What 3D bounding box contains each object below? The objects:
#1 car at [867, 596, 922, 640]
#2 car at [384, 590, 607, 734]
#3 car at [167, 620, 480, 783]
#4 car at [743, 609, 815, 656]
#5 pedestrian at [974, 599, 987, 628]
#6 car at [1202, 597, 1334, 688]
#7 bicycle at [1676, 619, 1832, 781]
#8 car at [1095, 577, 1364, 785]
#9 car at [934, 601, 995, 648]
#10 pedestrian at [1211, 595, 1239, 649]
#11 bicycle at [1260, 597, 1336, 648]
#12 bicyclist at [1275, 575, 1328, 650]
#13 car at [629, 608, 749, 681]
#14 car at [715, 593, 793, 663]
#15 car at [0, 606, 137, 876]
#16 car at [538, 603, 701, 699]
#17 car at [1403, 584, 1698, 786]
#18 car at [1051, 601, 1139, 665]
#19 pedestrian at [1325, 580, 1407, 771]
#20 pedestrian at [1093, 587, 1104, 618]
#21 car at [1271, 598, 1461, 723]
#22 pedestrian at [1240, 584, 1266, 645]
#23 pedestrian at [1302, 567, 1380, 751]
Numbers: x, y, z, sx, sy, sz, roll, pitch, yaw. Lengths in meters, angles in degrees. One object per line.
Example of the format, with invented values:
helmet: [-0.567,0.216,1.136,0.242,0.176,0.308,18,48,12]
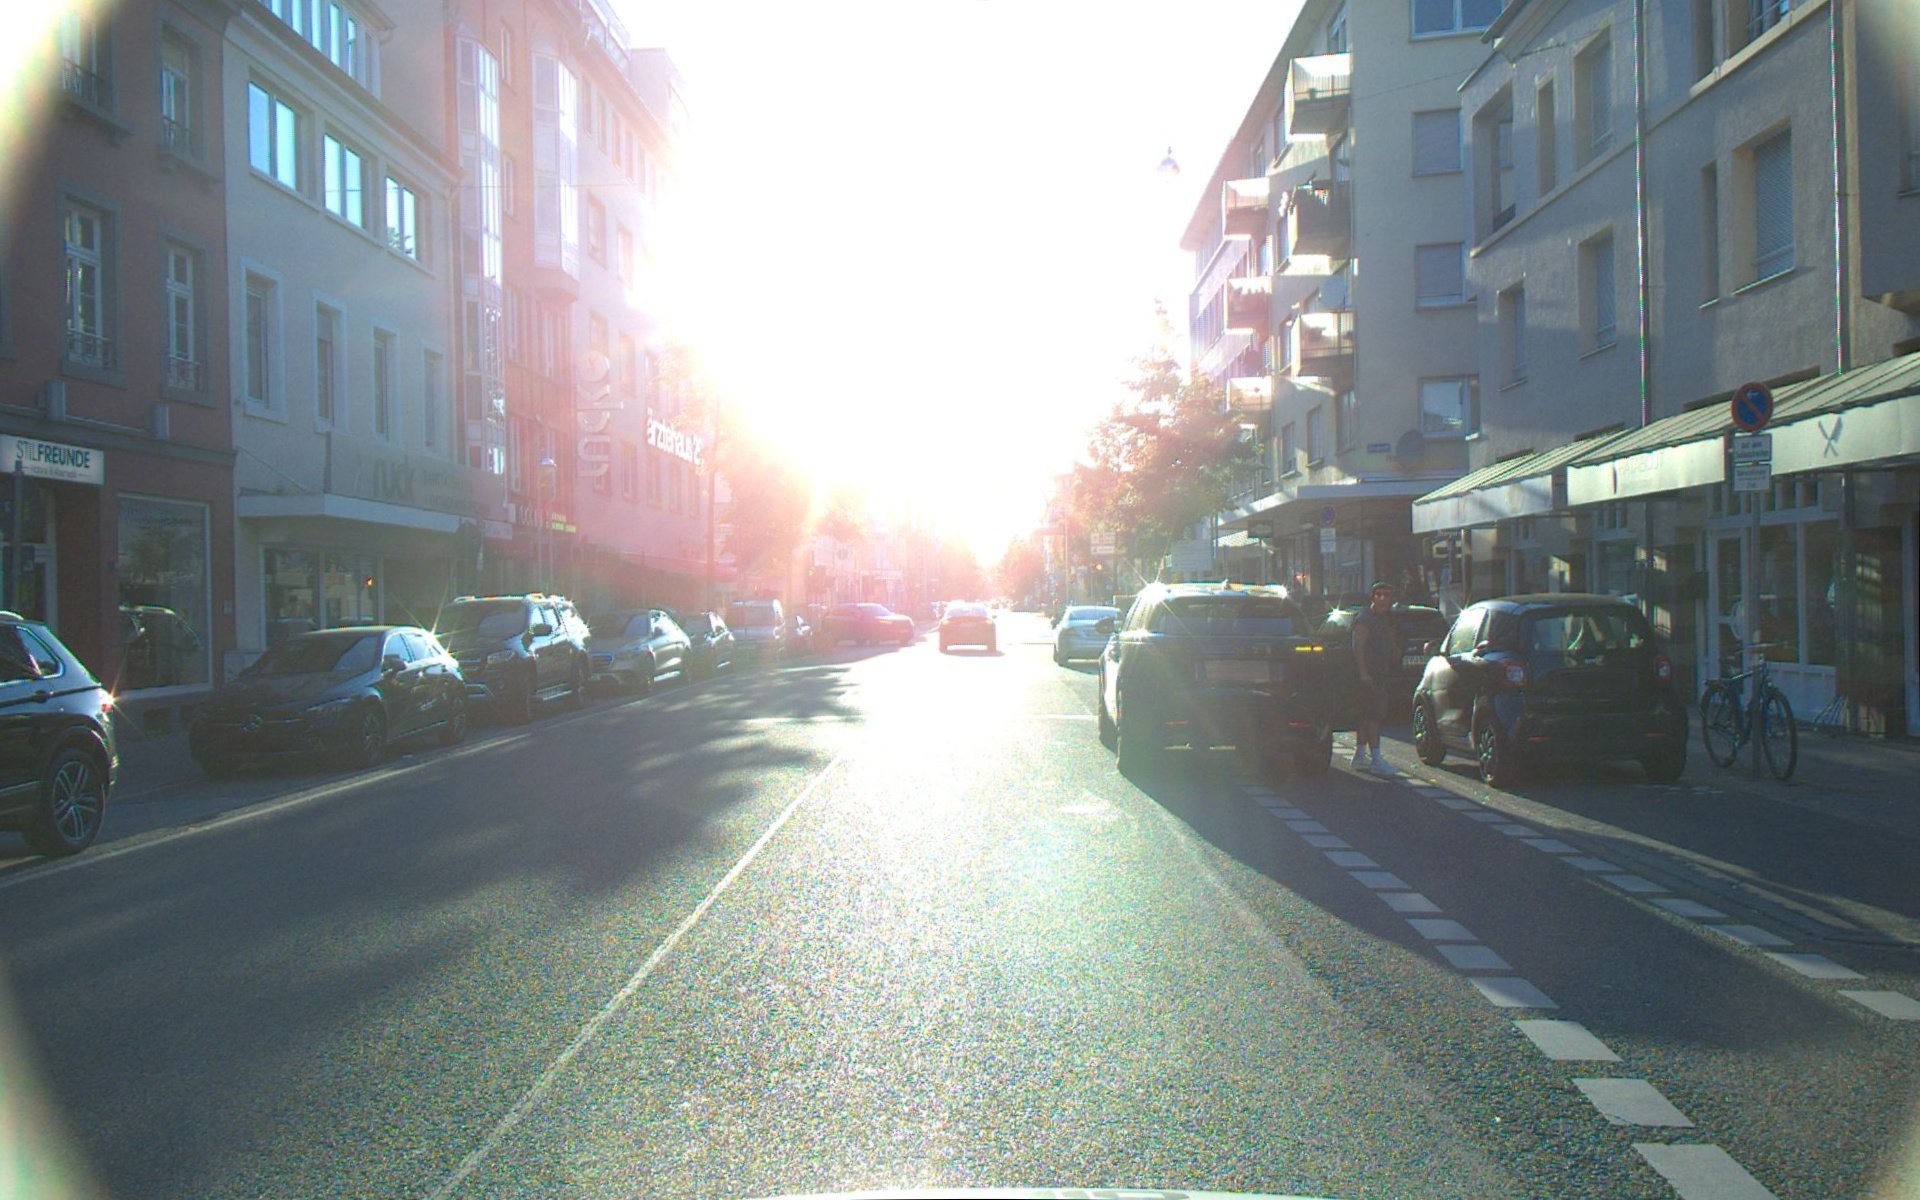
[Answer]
car: [-2.588,0.713,66.641,1.882,1.630,4.326,-1,1,2]
car: [-6.815,0.825,24.892,1.790,1.841,5.348,-3,0,0]
car: [-6.922,1.032,18.503,1.678,1.465,4.310,-3,0,2]
car: [-5.756,1.015,52.984,1.795,1.351,4.124,-2,0,0]
pedestrian: [1.185,0.775,95.662,0.565,1.673,0.525,-1,1,-20]
car: [5.371,0.702,29.266,1.668,1.461,3.933,-2,0,2]
bicycle: [6.728,0.805,14.102,0.389,1.256,1.825,-2,0,-1]
car: [2.410,0.660,15.971,1.953,1.684,4.675,1,0,2]
car: [0.191,0.771,53.249,1.844,1.440,4.326,0,0,2]
pedestrian: [7.840,0.646,49.002,0.674,1.586,0.863,-1,0,0]
bicycle: [8.012,0.537,39.271,0.644,1.175,1.911,-1,0,-31]
bicyclist: [8.083,0.294,39.210,0.644,1.732,1.083,-1,0,-32]
car: [-6.104,0.961,37.774,1.789,1.464,4.554,-3,0,2]
car: [-5.798,0.764,46.896,1.796,1.887,4.122,-1,0,-2]
car: [-6.870,0.929,9.729,1.737,1.661,4.239,-3,0,2]
car: [-6.382,0.900,31.639,1.789,1.583,5.137,-3,0,2]
car: [5.158,0.685,14.782,1.599,1.580,2.694,-2,0,-1]
car: [3.254,0.772,40.589,1.882,1.440,4.549,1,0,2]
pedestrian: [3.698,0.677,15.079,0.435,1.694,0.561,-2,0,-23]
pedestrian: [7.925,0.154,94.426,0.487,1.745,0.460,-1,1,-18]
car: [5.211,0.723,21.672,1.600,1.449,3.758,-2,0,1]
pedestrian: [8.642,0.433,48.811,0.673,1.752,0.717,-2,0,7]
pedestrian: [3.611,0.547,15.703,0.435,1.694,0.561,-2,0,-23]
